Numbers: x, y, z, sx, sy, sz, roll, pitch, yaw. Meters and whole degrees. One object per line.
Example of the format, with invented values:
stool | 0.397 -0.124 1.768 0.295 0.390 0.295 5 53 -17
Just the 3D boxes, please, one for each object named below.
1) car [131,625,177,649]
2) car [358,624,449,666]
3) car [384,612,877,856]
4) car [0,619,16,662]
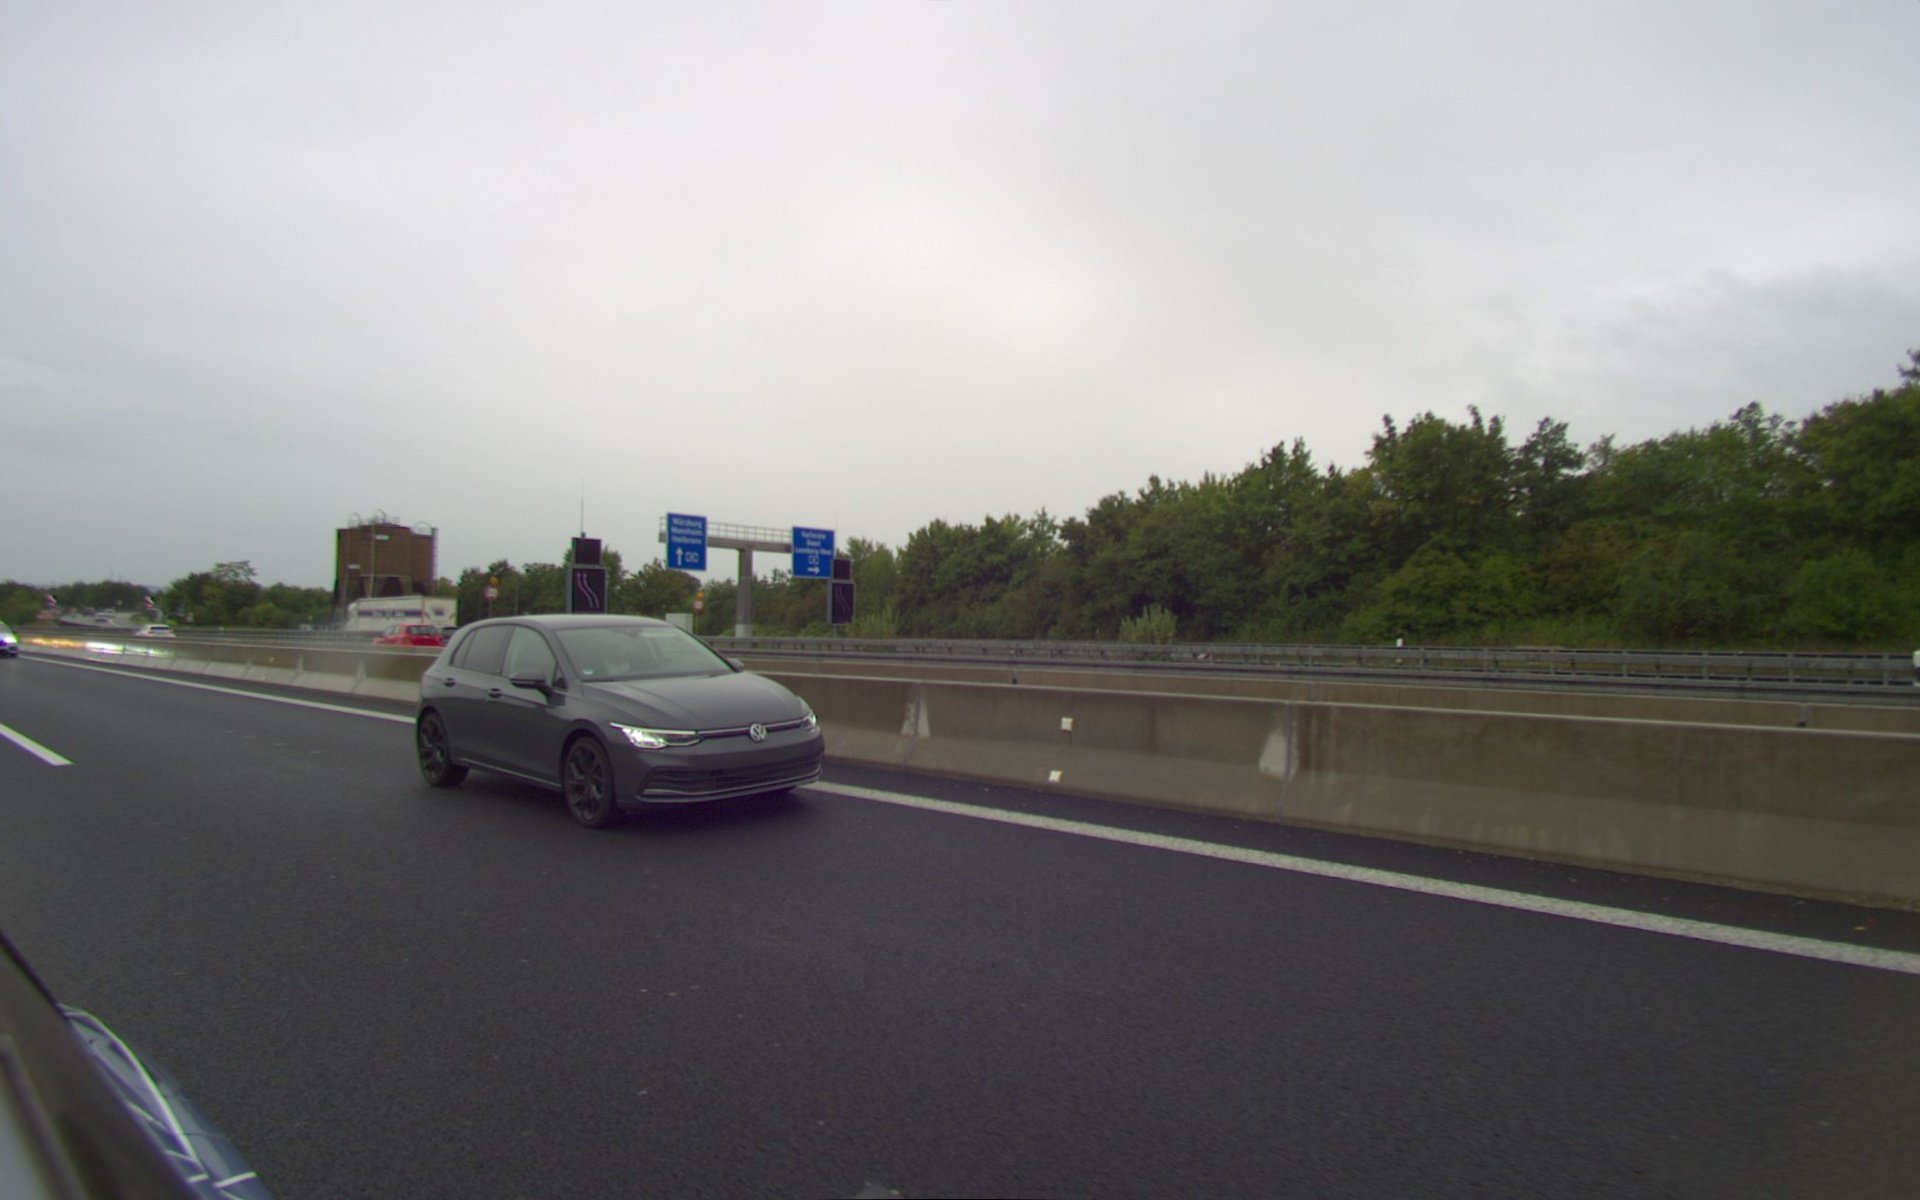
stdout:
car | -57.726 2.648 72.493 4.314 1.674 1.972 -1 -2 43
car | -22.548 1.764 40.909 4.579 1.564 1.706 -1 0 40
car | -2.851 0.866 8.175 4.365 1.436 1.811 -2 -1 41
car | -38.460 1.584 39.582 4.817 1.603 1.971 -1 -1 44
